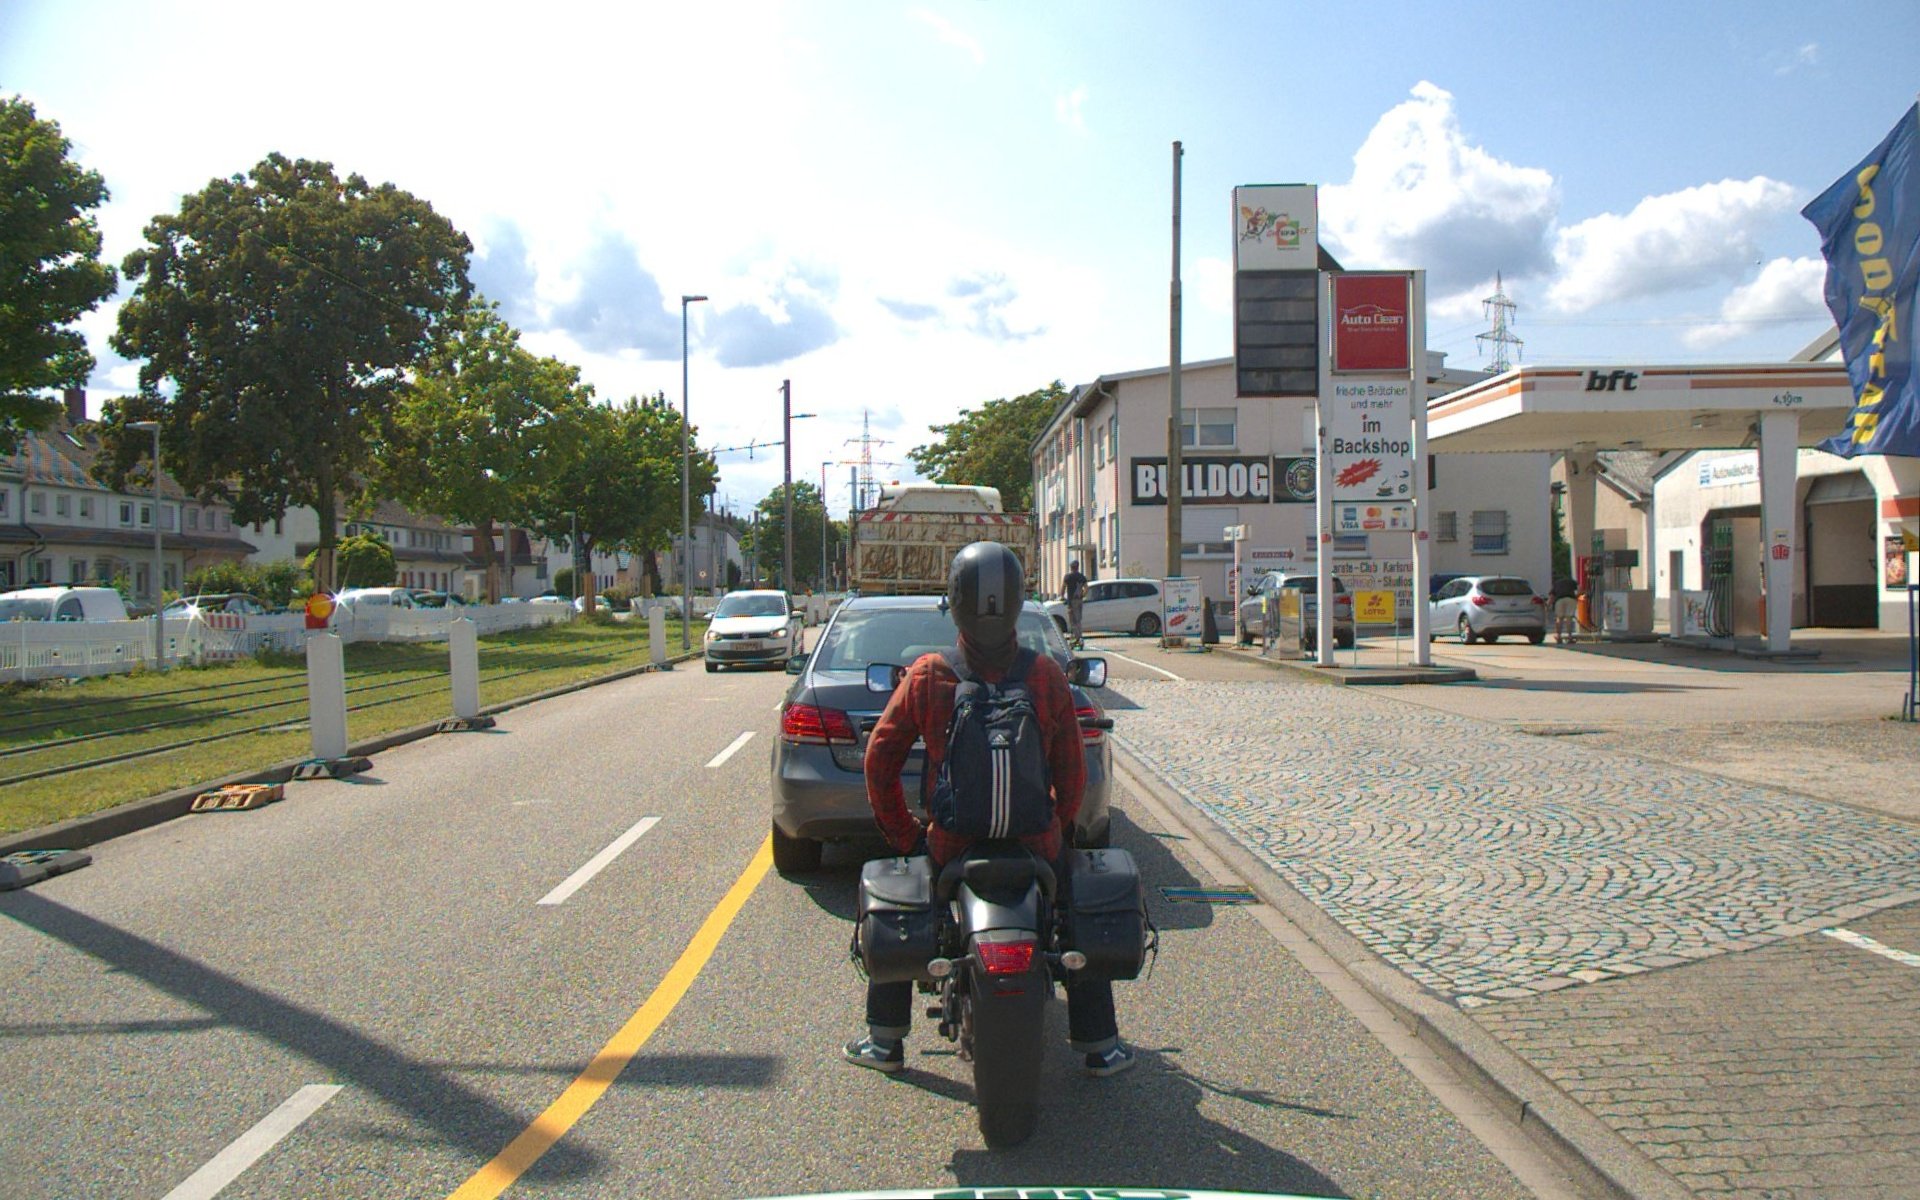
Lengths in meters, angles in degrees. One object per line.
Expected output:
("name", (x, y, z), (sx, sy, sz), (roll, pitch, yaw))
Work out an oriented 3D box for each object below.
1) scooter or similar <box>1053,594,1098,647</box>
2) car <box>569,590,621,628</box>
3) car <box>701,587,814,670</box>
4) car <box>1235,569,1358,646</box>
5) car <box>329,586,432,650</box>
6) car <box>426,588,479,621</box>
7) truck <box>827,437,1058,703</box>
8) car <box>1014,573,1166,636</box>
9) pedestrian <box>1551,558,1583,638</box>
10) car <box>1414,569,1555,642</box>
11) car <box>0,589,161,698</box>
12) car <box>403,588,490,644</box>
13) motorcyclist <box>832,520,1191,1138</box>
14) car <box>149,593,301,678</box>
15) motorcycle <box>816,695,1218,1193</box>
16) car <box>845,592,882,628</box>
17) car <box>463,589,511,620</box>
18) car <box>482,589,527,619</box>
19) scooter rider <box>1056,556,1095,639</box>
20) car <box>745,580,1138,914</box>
("scooter or similar", (2.604, 0.449, 37.389), (0.780, 1.165, 1.517), (-1, 0, -5))
("car", (-17.487, 0.407, 79.394), (1.664, 1.770, 3.860), (-1, 0, -1))
("car", (-3.824, 0.498, 31.780), (1.680, 1.438, 4.261), (-1, 0, -1))
("car", (7.404, 0.141, 36.753), (1.795, 1.562, 4.008), (-1, 0, -2))
("car", (-16.961, 0.493, 48.614), (1.664, 1.770, 3.860), (-1, 0, -1))
("car", (-28.178, 0.244, 91.934), (1.664, 1.770, 4.061), (-1, 0, -1))
("truck", (-0.353, -0.423, 25.468), (2.910, 3.362, 8.404), (-1, 0, -2))
("car", (3.673, 0.117, 47.083), (4.029, 1.652, 1.682), (-1, 0, -9))
("pedestrian", (13.138, -0.048, 35.790), (0.621, 1.712, 0.622), (-1, 0, 20))
("car", (11.775, 0.101, 37.419), (1.795, 1.505, 4.008), (-1, 0, -2))
("car", (-16.415, 0.742, 30.293), (1.664, 1.849, 3.860), (-1, 0, -1))
("car", (-17.016, 0.496, 54.980), (1.664, 1.770, 3.860), (-1, 0, -1))
("motorcyclist", (0.131, 0.616, 5.074), (0.950, 1.662, 1.214), (1, 0, -1))
("car", (-16.670, 0.756, 37.716), (1.664, 1.770, 4.053), (-1, 0, -1))
("motorcycle", (0.120, 0.898, 5.193), (0.956, 1.031, 2.431), (1, 0, -1))
("car", (-4.651, 0.447, 80.176), (1.646, 1.652, 4.118), (-1, 0, -1))
("car", (-28.058, 0.259, 98.144), (1.664, 1.770, 4.061), (-1, 0, -1))
("car", (-28.661, 0.230, 104.147), (1.664, 1.770, 4.061), (-1, 0, -1))
("scooter rider", (2.600, -0.054, 37.306), (0.780, 1.850, 0.508), (-1, 0, -5))
("car", (-0.145, 0.663, 9.702), (1.795, 1.505, 4.008), (-1, 0, -2))
